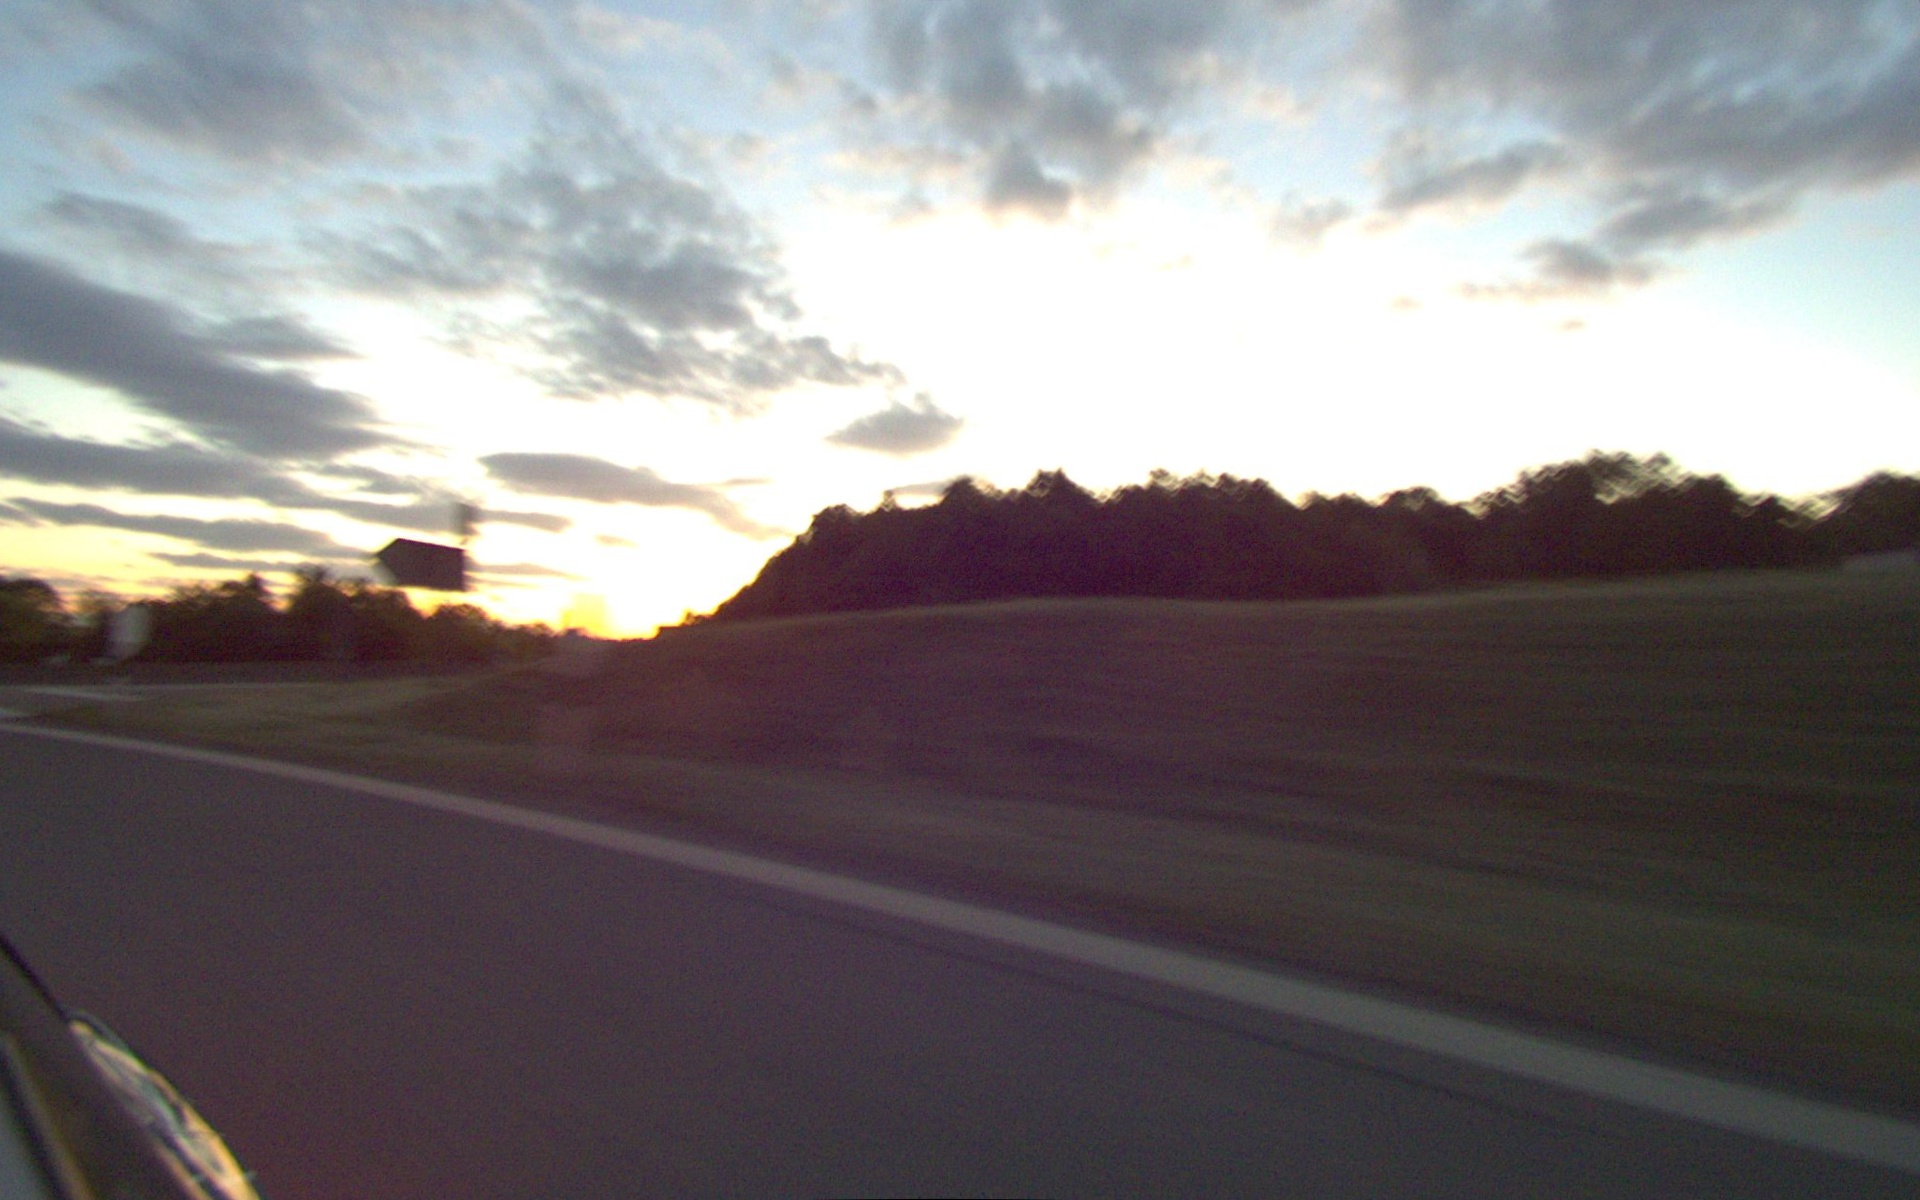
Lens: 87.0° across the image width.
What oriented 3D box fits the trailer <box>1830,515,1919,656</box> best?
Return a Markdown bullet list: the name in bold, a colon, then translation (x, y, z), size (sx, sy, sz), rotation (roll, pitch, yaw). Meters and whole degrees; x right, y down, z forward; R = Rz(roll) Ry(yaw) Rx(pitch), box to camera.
- **trailer**: translation (34.755, -0.436, 30.578), size (14.600, 3.946, 2.784), rotation (-1, -5, -3)
